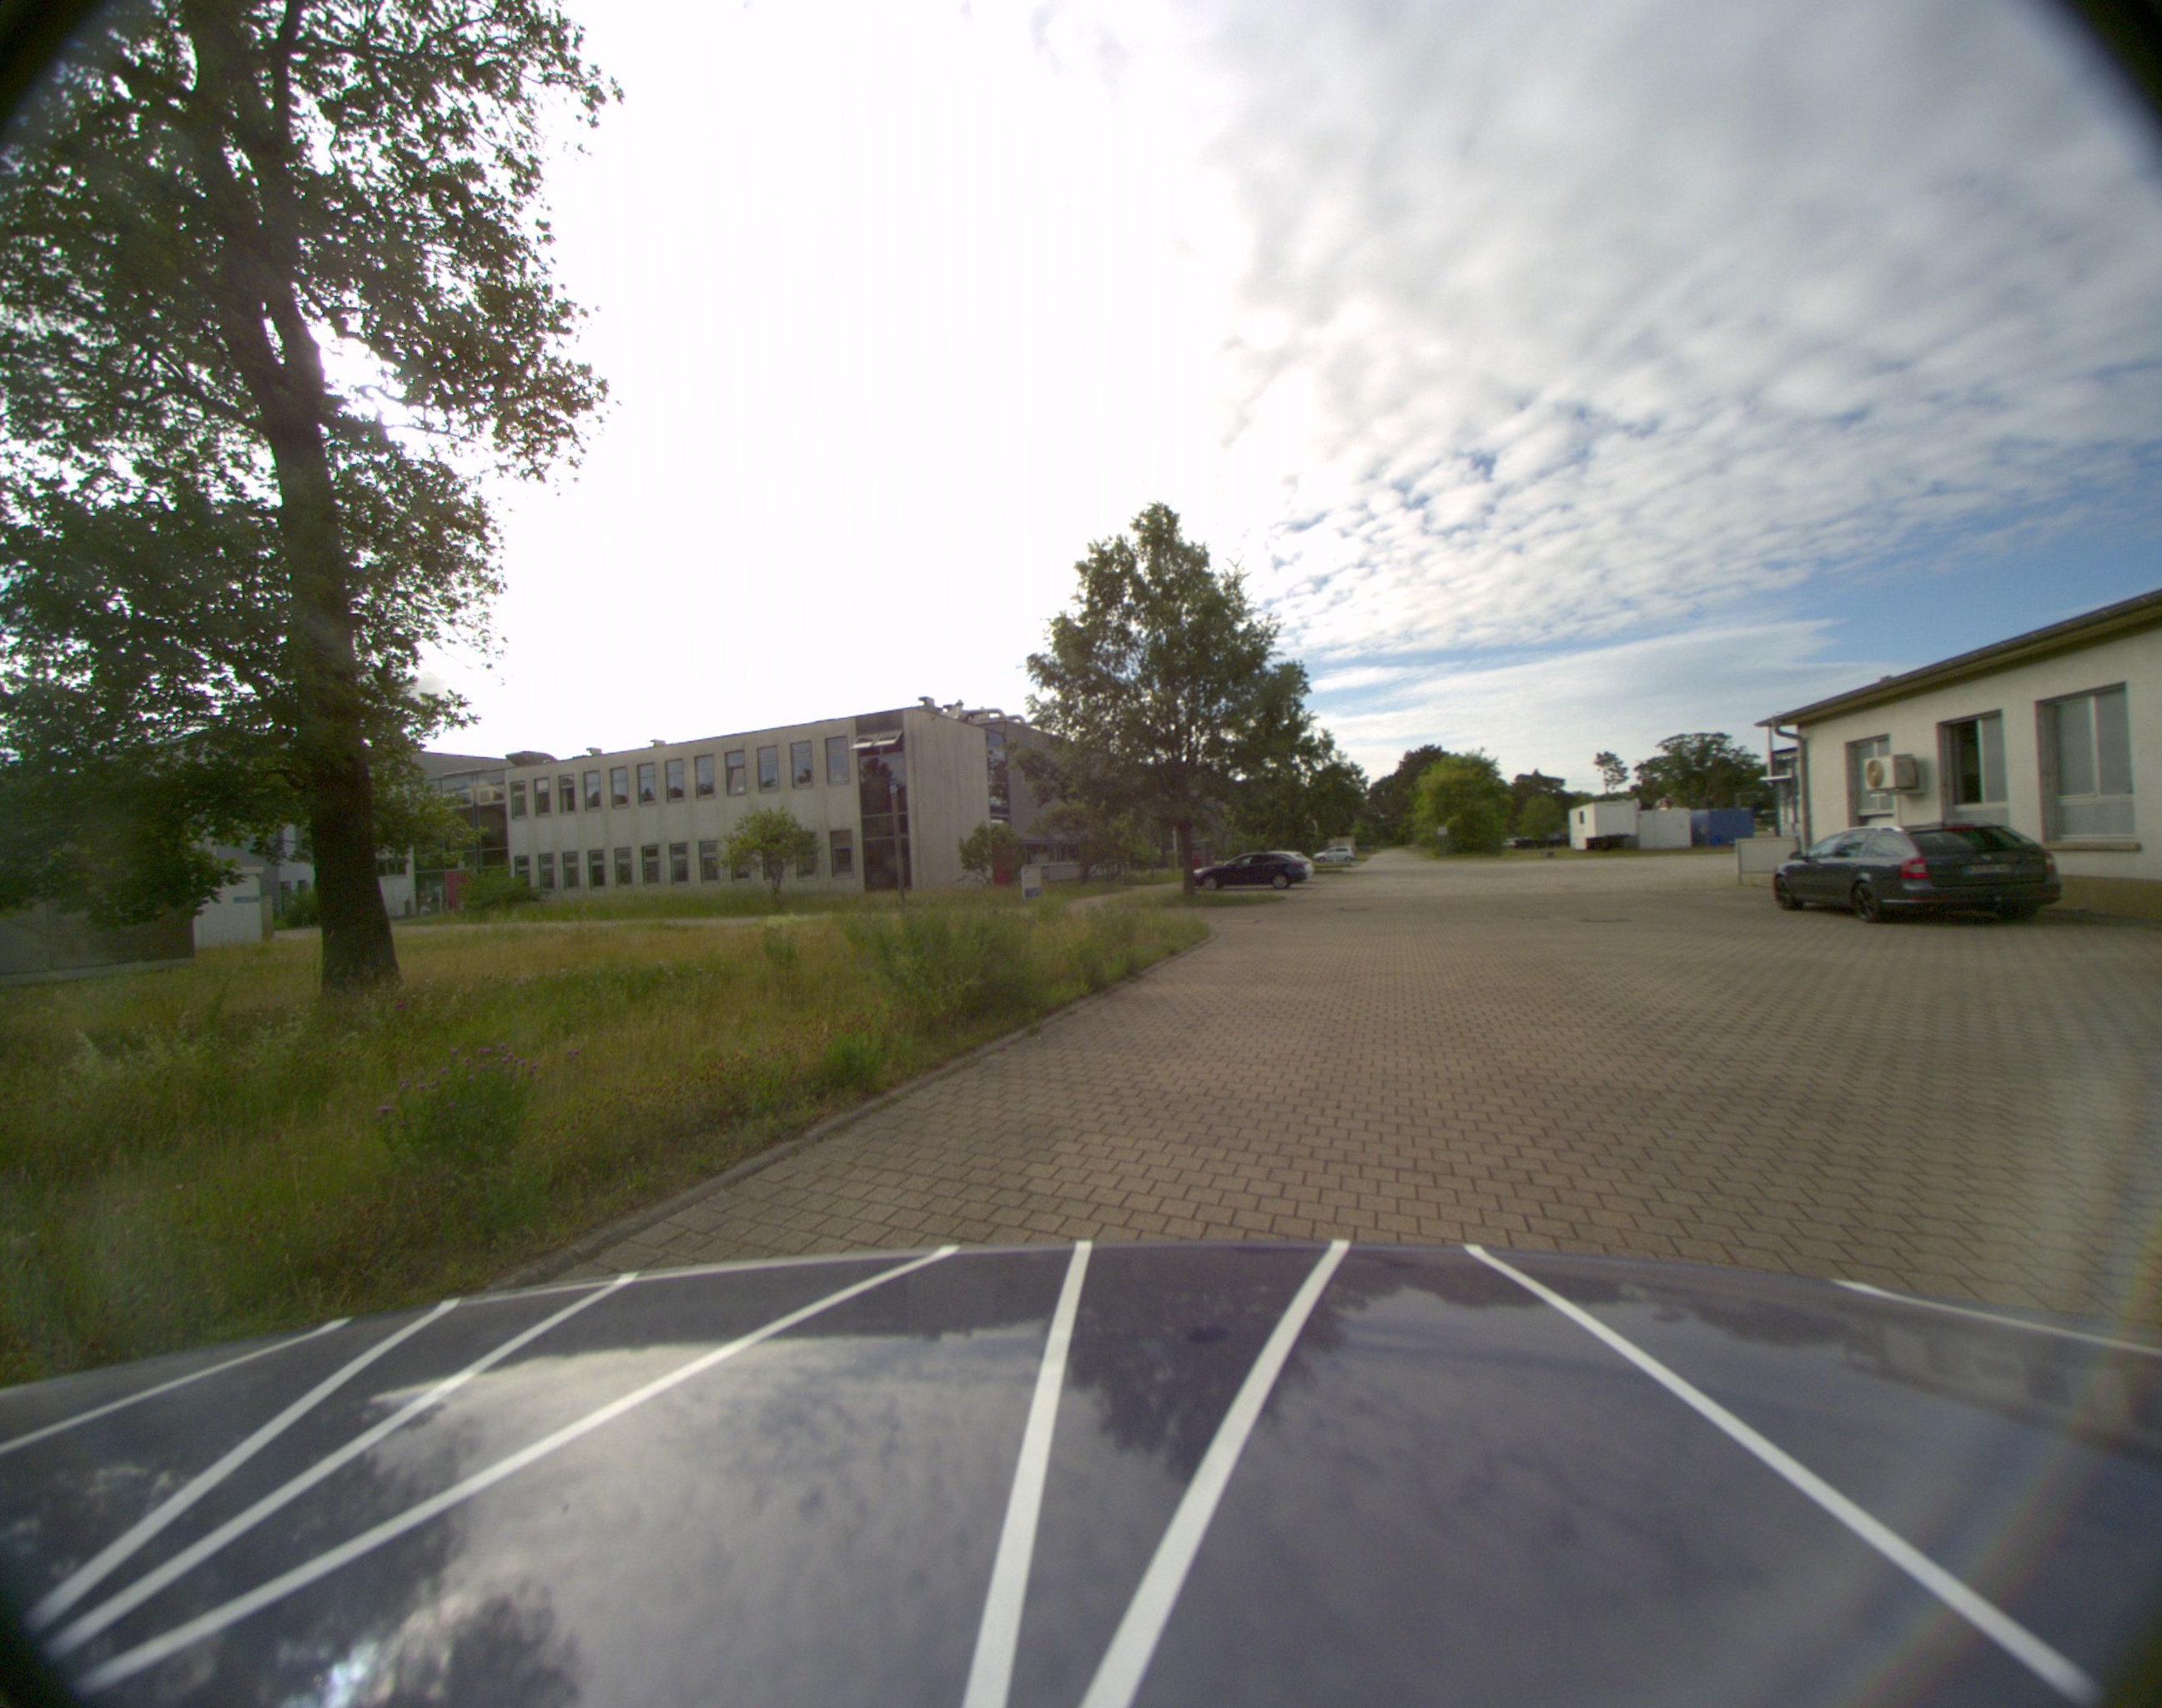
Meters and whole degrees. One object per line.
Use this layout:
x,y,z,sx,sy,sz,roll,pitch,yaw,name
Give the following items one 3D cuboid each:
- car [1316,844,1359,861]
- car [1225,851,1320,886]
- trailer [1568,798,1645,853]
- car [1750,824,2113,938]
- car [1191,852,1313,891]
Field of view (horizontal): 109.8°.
26.363,-0.118,78.086,4.125,1.615,1.942,-1,1,20,car
8.902,0.673,35.241,3.980,1.458,1.885,-2,0,22,car
39.751,-2.063,57.914,2.871,3.640,10.794,-3,0,25,trailer
13.232,0.357,12.372,1.926,1.452,4.818,-3,0,21,car
6.850,0.703,30.418,4.468,1.438,1.947,-2,0,22,car
